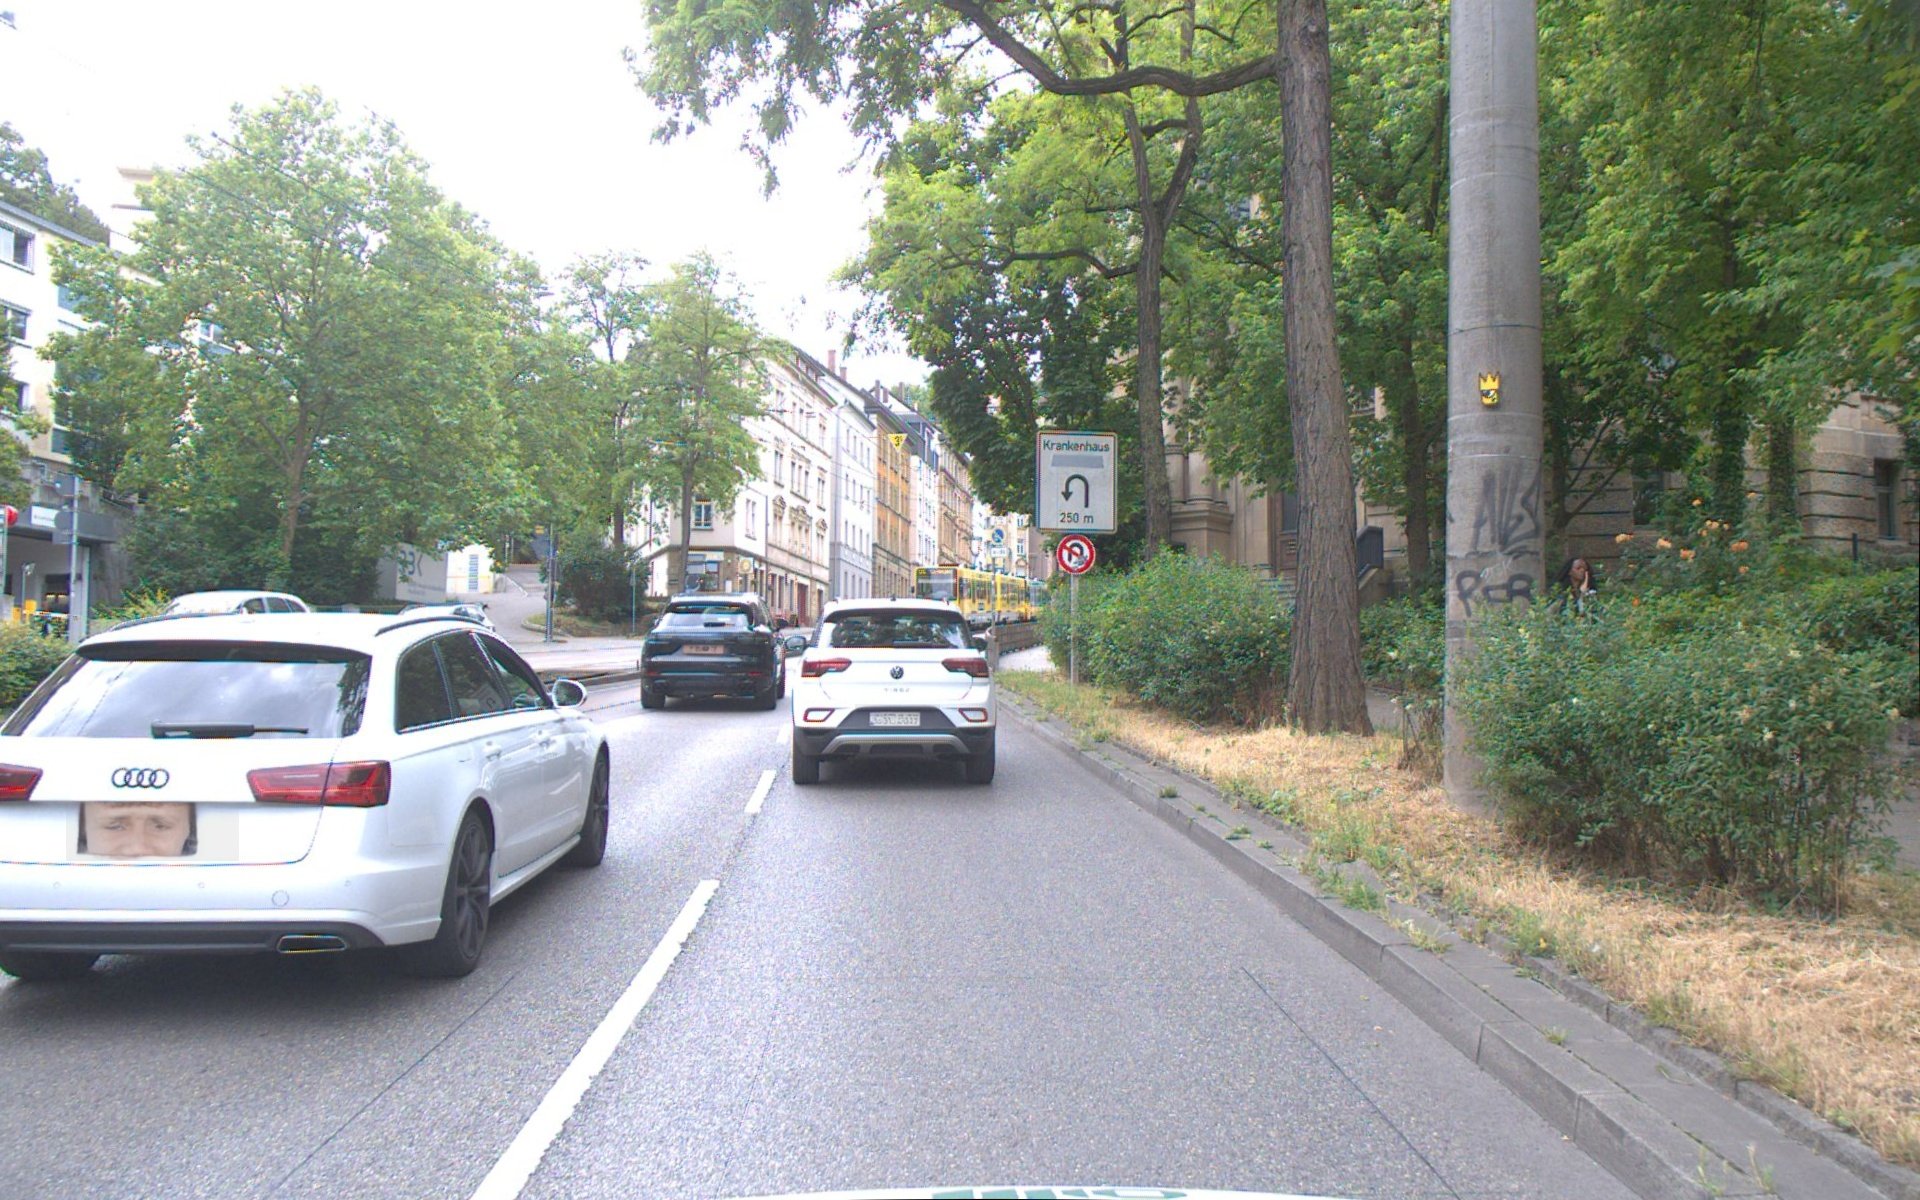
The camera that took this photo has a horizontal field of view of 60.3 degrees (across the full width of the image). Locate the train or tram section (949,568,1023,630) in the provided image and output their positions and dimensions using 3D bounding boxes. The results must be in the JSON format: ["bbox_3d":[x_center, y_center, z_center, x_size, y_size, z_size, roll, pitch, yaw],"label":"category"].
[{"bbox_3d":[1.953,0.034,111.940,2.815,3.791,18.716,1,0,8],"label":"train or tram section"}]

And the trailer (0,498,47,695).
[{"bbox_3d":[-16.011,-0.091,23.700,1.976,3.025,5.594,1,0,10],"label":"trailer"}]

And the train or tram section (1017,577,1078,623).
[{"bbox_3d":[8.054,0.073,148.901,2.815,3.791,18.771,1,0,11],"label":"train or tram section"}]

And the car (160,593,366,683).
[{"bbox_3d":[-12.191,0.640,29.181,1.623,1.468,3.742,-1,0,9],"label":"car"}]

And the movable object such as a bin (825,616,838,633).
[{"bbox_3d":[-8.126,1.538,104.887,0.672,1.092,0.677,0,-1,8],"label":"movable object such as a bin"}]

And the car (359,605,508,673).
[{"bbox_3d":[-11.804,0.845,37.369,1.729,1.432,4.085,-1,0,5],"label":"car"}]

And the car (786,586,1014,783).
[{"bbox_3d":[-0.658,0.694,15.370,1.842,1.582,3.995,0,-1,-5],"label":"car"}]

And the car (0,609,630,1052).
[{"bbox_3d":[-2.884,0.788,7.853,1.841,1.480,4.615,0,0,-2],"label":"car"}]

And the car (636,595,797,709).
[{"bbox_3d":[-3.618,0.741,25.324,1.997,1.599,4.356,0,-1,-2],"label":"car"}]

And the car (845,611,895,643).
[{"bbox_3d":[-4.582,1.353,84.885,1.951,1.579,4.003,-1,-1,6],"label":"car"}]

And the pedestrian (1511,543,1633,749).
[{"bbox_3d":[5.275,0.389,14.299,0.755,1.733,0.785,0,-1,0],"label":"pedestrian"}]

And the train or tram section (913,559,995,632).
[{"bbox_3d":[-0.180,-0.175,95.265,2.821,3.791,14.866,1,0,7],"label":"train or tram section"}]

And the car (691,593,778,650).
[{"bbox_3d":[-8.236,0.750,60.751,1.906,1.980,5.006,0,0,7],"label":"car"}]

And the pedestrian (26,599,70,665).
[{"bbox_3d":[-27.076,0.949,49.110,0.794,1.945,0.794,-1,-1,9],"label":"pedestrian"}]

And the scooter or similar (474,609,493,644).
[{"bbox_3d":[-17.278,0.967,59.940,0.481,1.240,1.637,2,-1,-12],"label":"scooter or similar"}]
